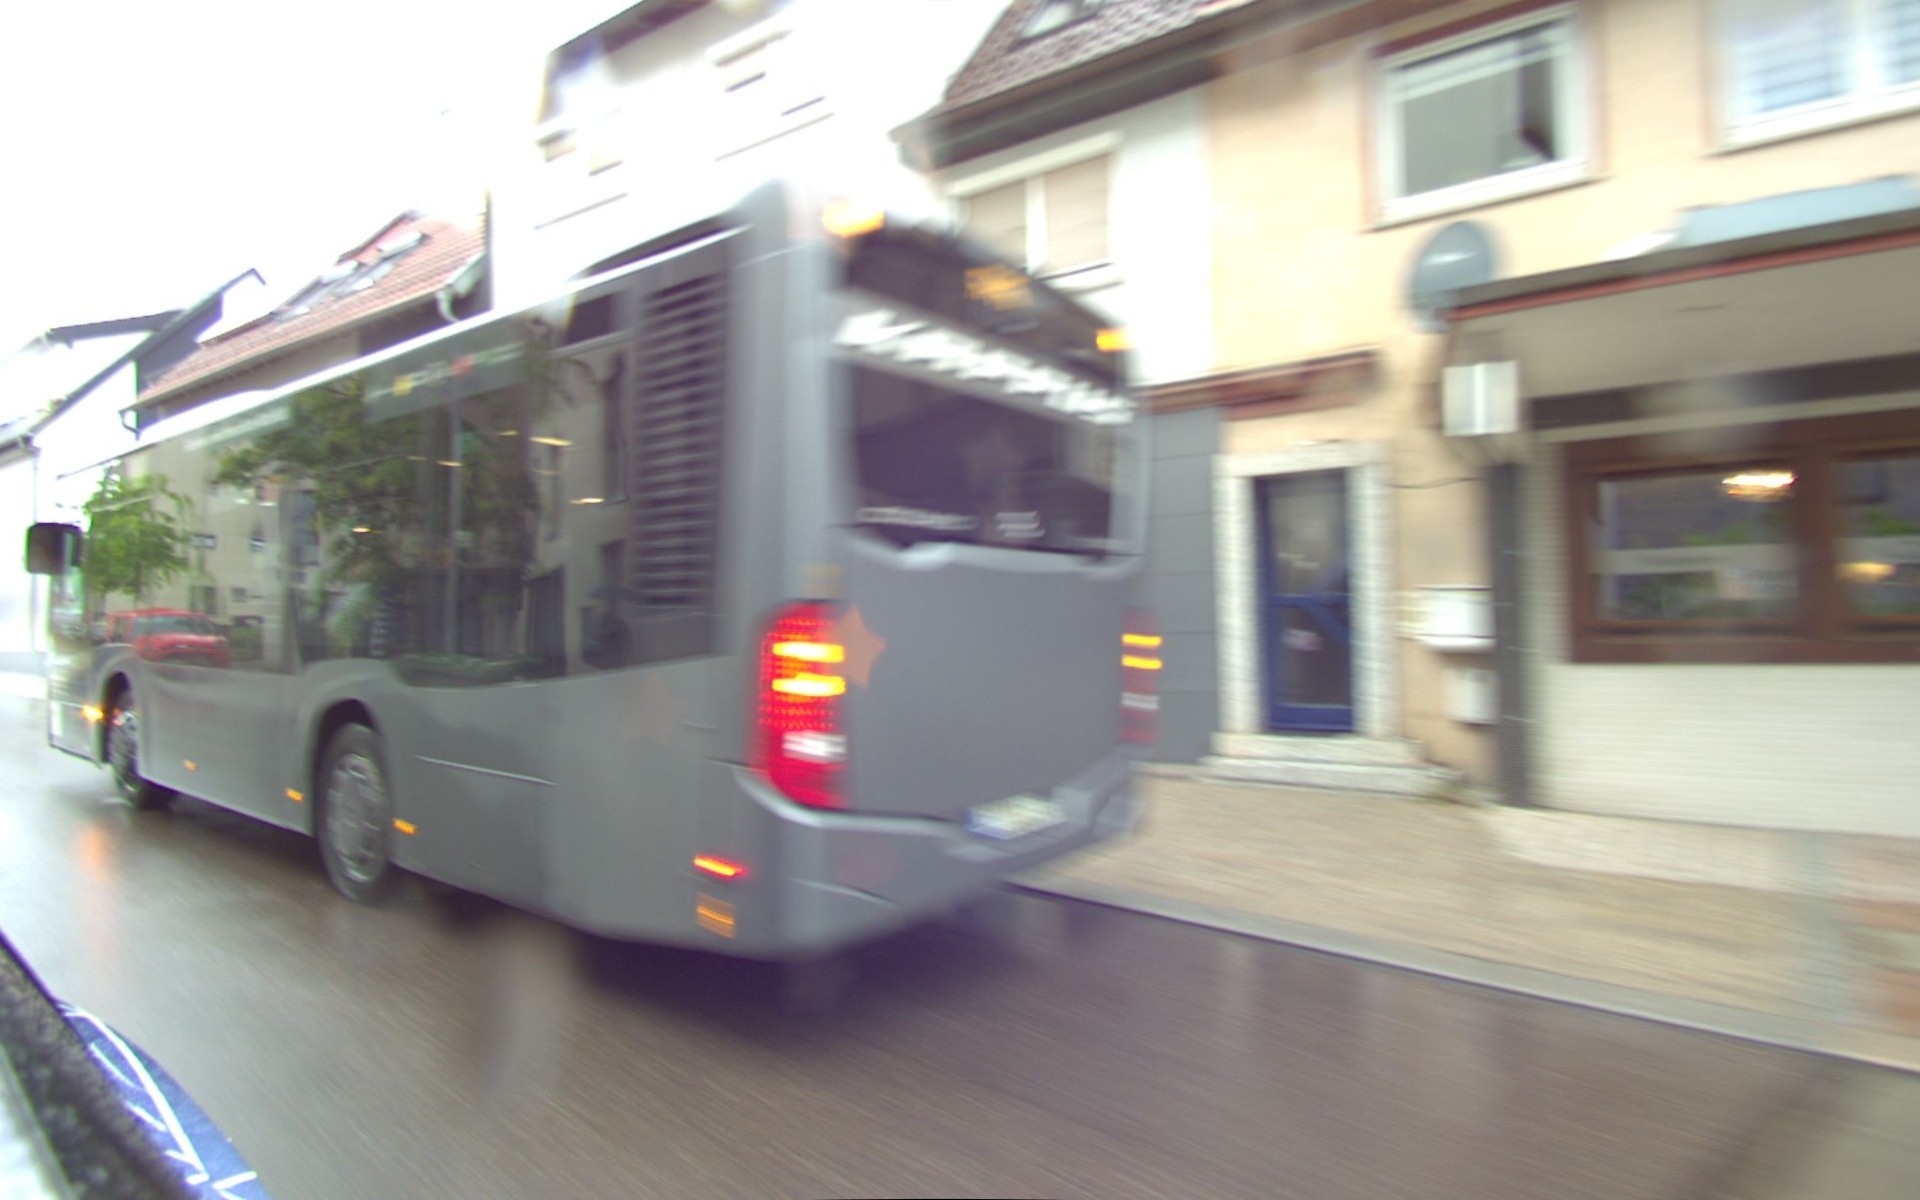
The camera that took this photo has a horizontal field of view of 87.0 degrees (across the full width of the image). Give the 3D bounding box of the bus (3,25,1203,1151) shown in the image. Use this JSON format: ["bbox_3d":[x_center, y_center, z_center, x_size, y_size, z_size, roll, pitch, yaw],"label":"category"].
[{"bbox_3d":[-3.945,0.059,7.254,10.931,3.103,2.697,-1,-1,38],"label":"bus"}]

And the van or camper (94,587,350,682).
[{"bbox_3d":[-19.248,0.794,26.679,1.994,1.947,4.985,0,4,33],"label":"van or camper"}]
